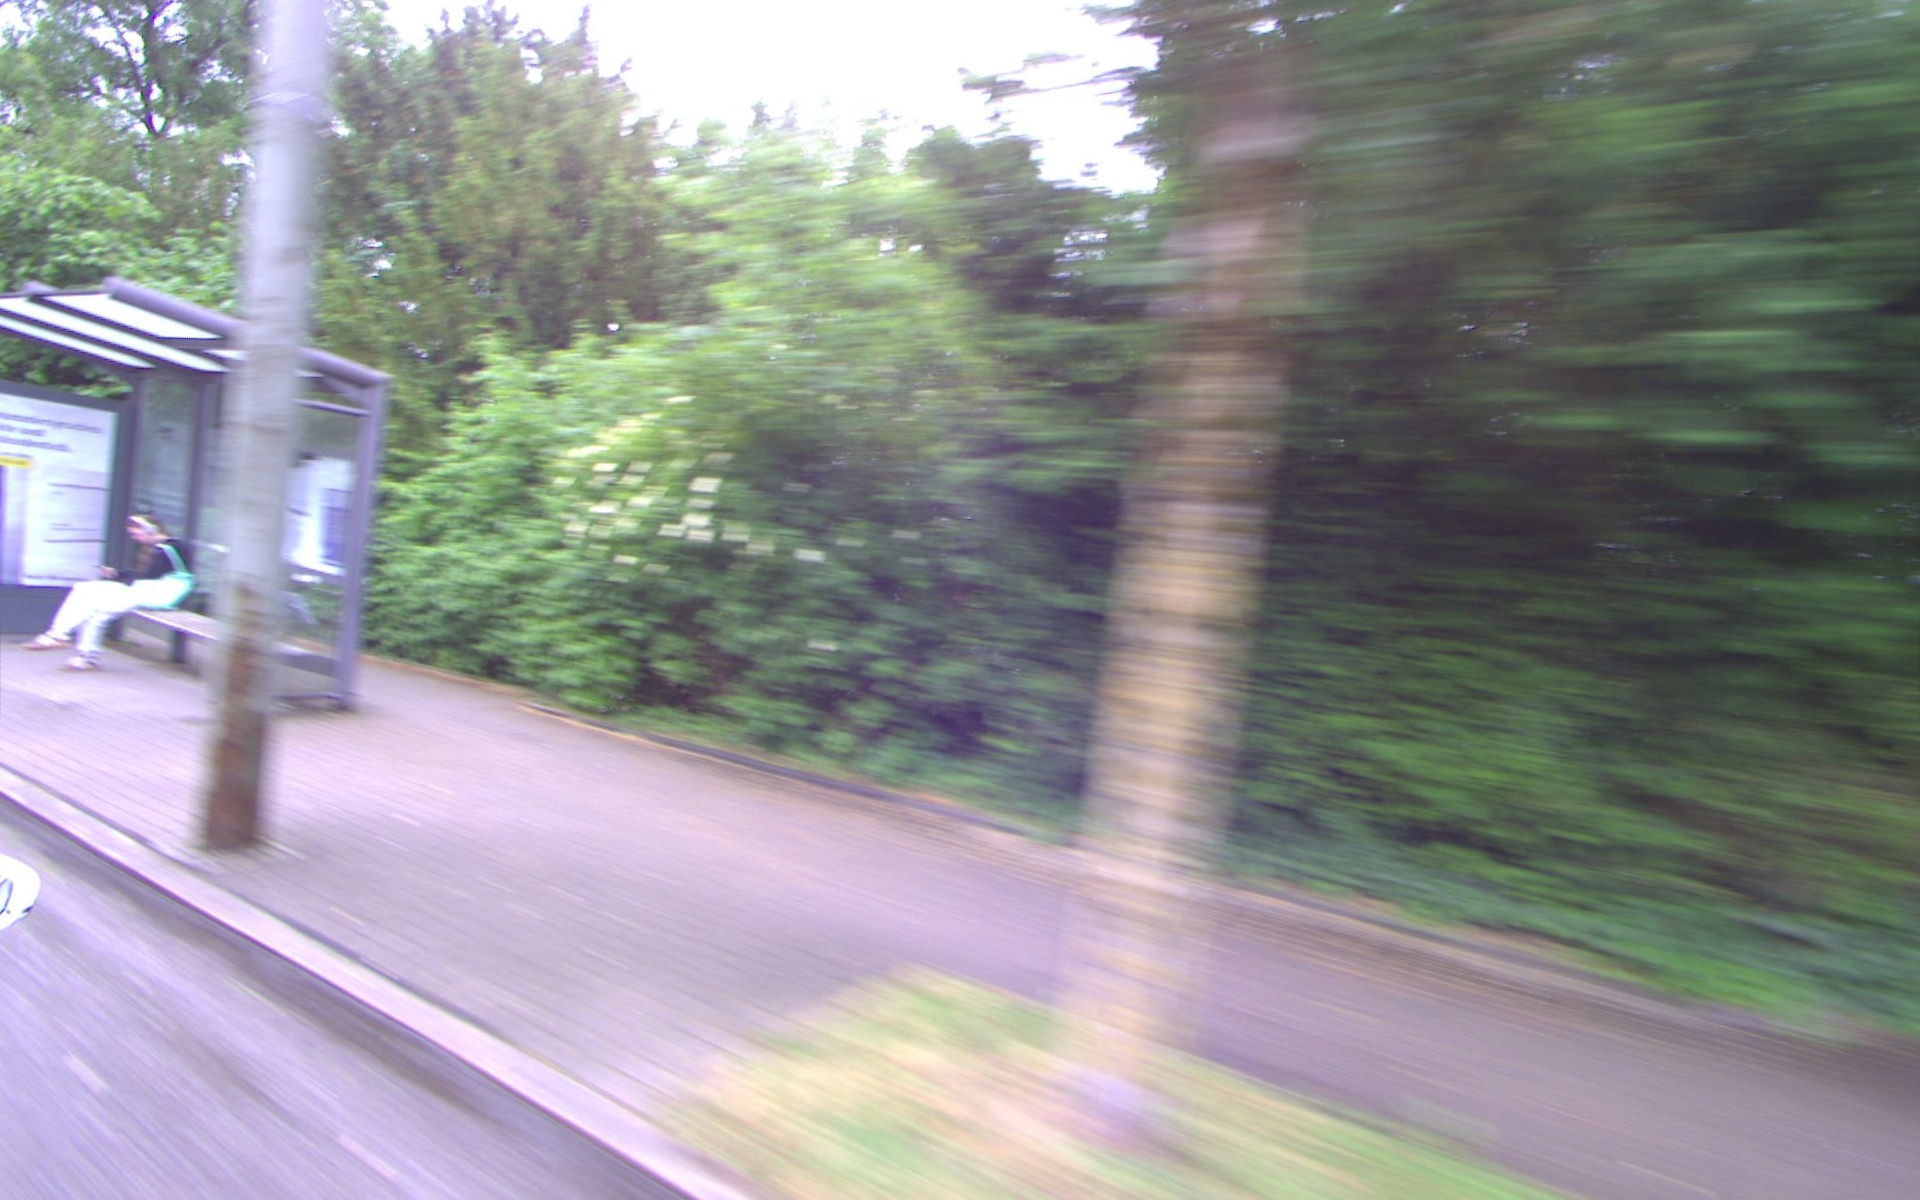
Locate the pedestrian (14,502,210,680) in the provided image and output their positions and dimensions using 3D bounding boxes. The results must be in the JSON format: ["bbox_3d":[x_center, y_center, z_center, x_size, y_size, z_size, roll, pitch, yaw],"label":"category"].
[{"bbox_3d":[-7.255,-0.068,8.616,0.904,1.373,1.072,8,3,38],"label":"pedestrian"}]
